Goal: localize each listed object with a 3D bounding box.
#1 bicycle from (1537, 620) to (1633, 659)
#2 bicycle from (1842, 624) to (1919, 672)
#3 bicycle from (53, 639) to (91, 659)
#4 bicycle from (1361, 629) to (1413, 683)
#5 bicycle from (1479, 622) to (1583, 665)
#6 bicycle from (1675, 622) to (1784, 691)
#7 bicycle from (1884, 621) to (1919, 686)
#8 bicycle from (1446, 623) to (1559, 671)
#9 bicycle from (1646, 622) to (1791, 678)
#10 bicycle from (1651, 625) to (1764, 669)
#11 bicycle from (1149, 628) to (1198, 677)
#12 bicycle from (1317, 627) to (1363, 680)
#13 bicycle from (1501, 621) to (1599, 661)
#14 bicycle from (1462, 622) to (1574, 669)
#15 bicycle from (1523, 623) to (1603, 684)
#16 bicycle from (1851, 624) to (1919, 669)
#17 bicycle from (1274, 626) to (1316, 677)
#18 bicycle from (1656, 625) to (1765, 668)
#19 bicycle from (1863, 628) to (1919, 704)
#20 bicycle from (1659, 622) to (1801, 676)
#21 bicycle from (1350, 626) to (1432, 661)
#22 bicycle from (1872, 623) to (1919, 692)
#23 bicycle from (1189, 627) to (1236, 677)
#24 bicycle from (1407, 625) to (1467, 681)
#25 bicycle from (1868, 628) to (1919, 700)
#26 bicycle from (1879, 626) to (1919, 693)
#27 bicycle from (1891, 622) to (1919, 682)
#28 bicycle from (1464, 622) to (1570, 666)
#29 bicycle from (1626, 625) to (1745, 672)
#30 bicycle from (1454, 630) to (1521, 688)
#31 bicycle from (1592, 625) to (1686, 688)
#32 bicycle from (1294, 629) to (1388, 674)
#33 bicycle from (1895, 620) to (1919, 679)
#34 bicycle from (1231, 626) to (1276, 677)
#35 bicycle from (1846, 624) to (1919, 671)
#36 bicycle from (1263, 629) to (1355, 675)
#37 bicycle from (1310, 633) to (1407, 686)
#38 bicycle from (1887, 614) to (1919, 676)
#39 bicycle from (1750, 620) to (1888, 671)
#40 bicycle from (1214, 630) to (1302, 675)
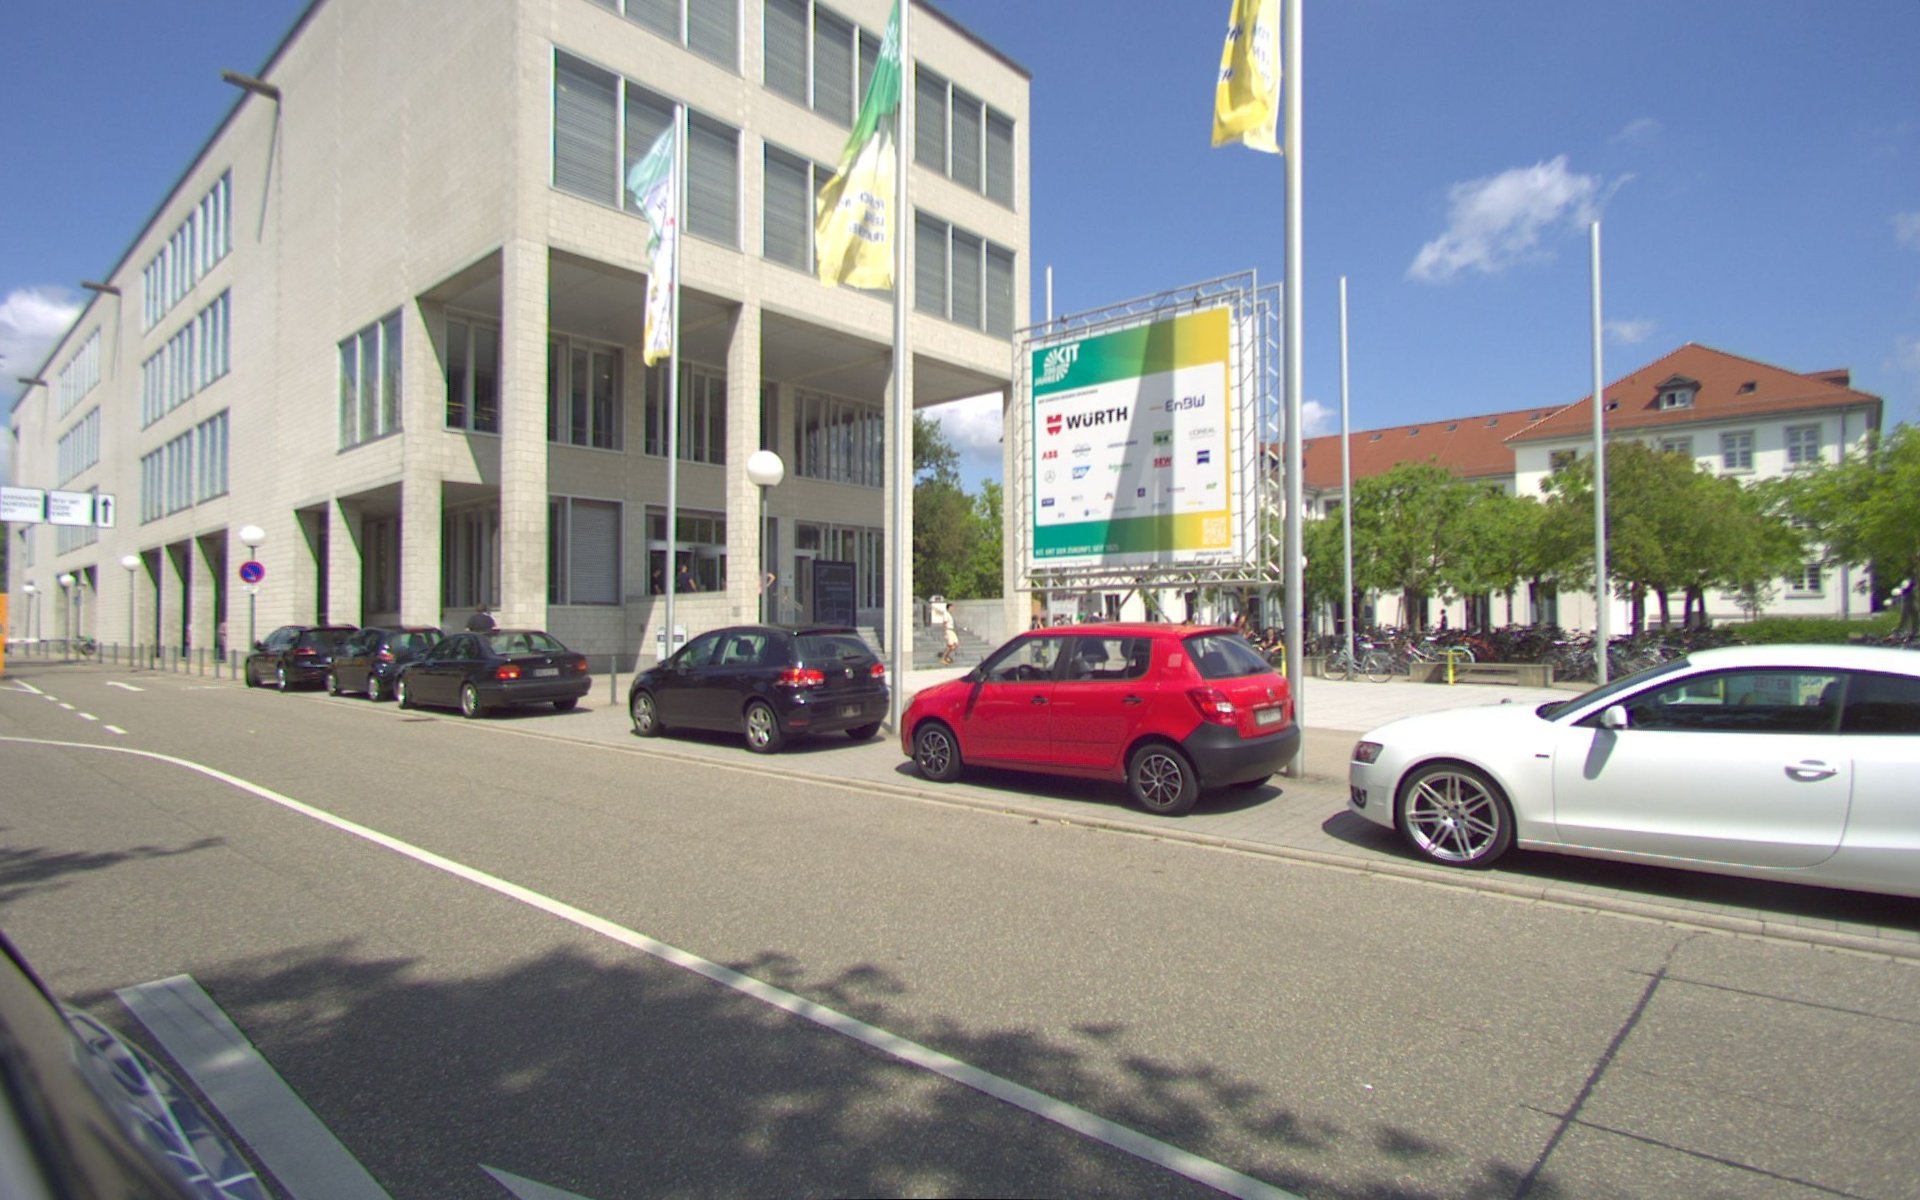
[{"bbox_3d":[23.974,1.495,38.894,1.049,1.422,2.956,0,-1,-40],"label":"bicycle"},{"bbox_3d":[28.765,1.447,30.670,1.049,1.422,2.954,1,-2,-43],"label":"bicycle"},{"bbox_3d":[-52.312,2.865,59.629,0.607,1.095,1.624,-2,-2,36],"label":"bicycle"},{"bbox_3d":[12.006,1.544,28.567,1.139,1.422,2.932,-1,-1,19],"label":"bicycle"},{"bbox_3d":[19.702,1.469,35.000,1.048,1.422,2.957,0,-1,-37],"label":"bicycle"},{"bbox_3d":[17.266,1.227,22.830,1.057,1.422,2.932,-1,-1,19],"label":"bicycle"},{"bbox_3d":[22.240,1.168,22.106,1.049,1.422,2.954,1,-2,-43],"label":"bicycle"},{"bbox_3d":[17.000,1.439,31.822,1.048,1.422,2.957,0,-1,-37],"label":"bicycle"},{"bbox_3d":[20.405,1.320,27.314,1.049,1.422,2.956,0,-1,-40],"label":"bicycle"},{"bbox_3d":[25.032,1.549,33.920,2.950,1.422,1.051,-2,-2,41],"label":"bicycle"},{"bbox_3d":[6.684,1.598,31.507,1.139,1.422,2.932,-1,-1,19],"label":"bicycle"},{"bbox_3d":[10.973,1.512,29.307,1.139,1.422,2.932,-1,-1,19],"label":"bicycle"},{"bbox_3d":[21.943,1.494,37.688,1.049,1.422,2.956,0,-1,-40],"label":"bicycle"},{"bbox_3d":[17.890,1.442,32.543,1.048,1.422,2.957,0,-1,-37],"label":"bicycle"},{"bbox_3d":[15.157,1.313,25.549,1.139,1.422,2.932,-1,-1,19],"label":"bicycle"},{"bbox_3d":[30.575,1.475,32.410,1.049,1.422,2.954,1,-2,-43],"label":"bicycle"},{"bbox_3d":[10.015,1.510,30.219,1.139,1.422,2.932,-1,-1,19],"label":"bicycle"},{"bbox_3d":[25.877,1.571,34.929,2.950,1.422,1.051,-2,-2,41],"label":"bicycle"},{"bbox_3d":[19.179,1.254,19.202,1.002,1.430,2.954,1,-2,-43],"label":"bicycle"},{"bbox_3d":[21.261,1.324,28.033,1.049,1.422,2.956,0,-1,-40],"label":"bicycle"},{"bbox_3d":[18.049,1.792,42.439,1.130,1.422,2.956,0,-1,-40],"label":"bicycle"},{"bbox_3d":[20.680,1.183,20.663,1.002,1.422,2.954,1,-2,-43],"label":"bicycle"},{"bbox_3d":[7.798,1.550,31.091,1.139,1.422,2.932,-1,-1,19],"label":"bicycle"},{"bbox_3d":[12.934,1.402,27.542,1.139,1.422,2.932,-1,-1,19],"label":"bicycle"},{"bbox_3d":[19.935,1.264,19.930,1.002,1.427,2.954,1,-2,-43],"label":"bicycle"},{"bbox_3d":[21.478,1.260,21.379,1.002,1.422,2.954,1,-2,-43],"label":"bicycle"},{"bbox_3d":[23.810,1.216,23.636,1.049,1.422,2.954,1,-2,-43],"label":"bicycle"},{"bbox_3d":[18.837,1.465,34.320,1.048,1.422,2.957,0,-1,-37],"label":"bicycle"},{"bbox_3d":[23.652,1.552,33.089,1.047,1.422,2.960,0,-1,-29],"label":"bicycle"},{"bbox_3d":[14.113,1.553,27.163,1.139,1.422,2.932,-1,-1,19],"label":"bicycle"},{"bbox_3d":[16.525,1.340,24.742,1.139,1.422,2.932,-1,-1,19],"label":"bicycle"},{"bbox_3d":[12.826,1.696,34.210,1.128,1.422,2.961,0,-1,-26],"label":"bicycle"},{"bbox_3d":[24.616,1.195,24.415,1.049,1.422,2.954,1,-2,-43],"label":"bicycle"},{"bbox_3d":[8.905,1.530,30.635,1.139,1.422,2.932,-1,-1,19],"label":"bicycle"},{"bbox_3d":[29.617,1.469,31.522,1.049,1.422,2.954,1,-2,-43],"label":"bicycle"},{"bbox_3d":[11.640,1.703,33.885,1.128,1.422,2.961,0,-1,-26],"label":"bicycle"},{"bbox_3d":[9.657,1.429,24.572,2.094,1.225,0.642,-2,-2,42],"label":"bicycle"},{"bbox_3d":[23.017,1.024,22.885,1.049,1.422,2.954,1,-2,-43],"label":"bicycle"},{"bbox_3d":[25.420,1.316,30.008,1.049,1.422,2.956,0,-1,-40],"label":"bicycle"},{"bbox_3d":[10.025,1.726,34.222,1.128,1.422,2.961,0,-1,-26],"label":"bicycle"}]
